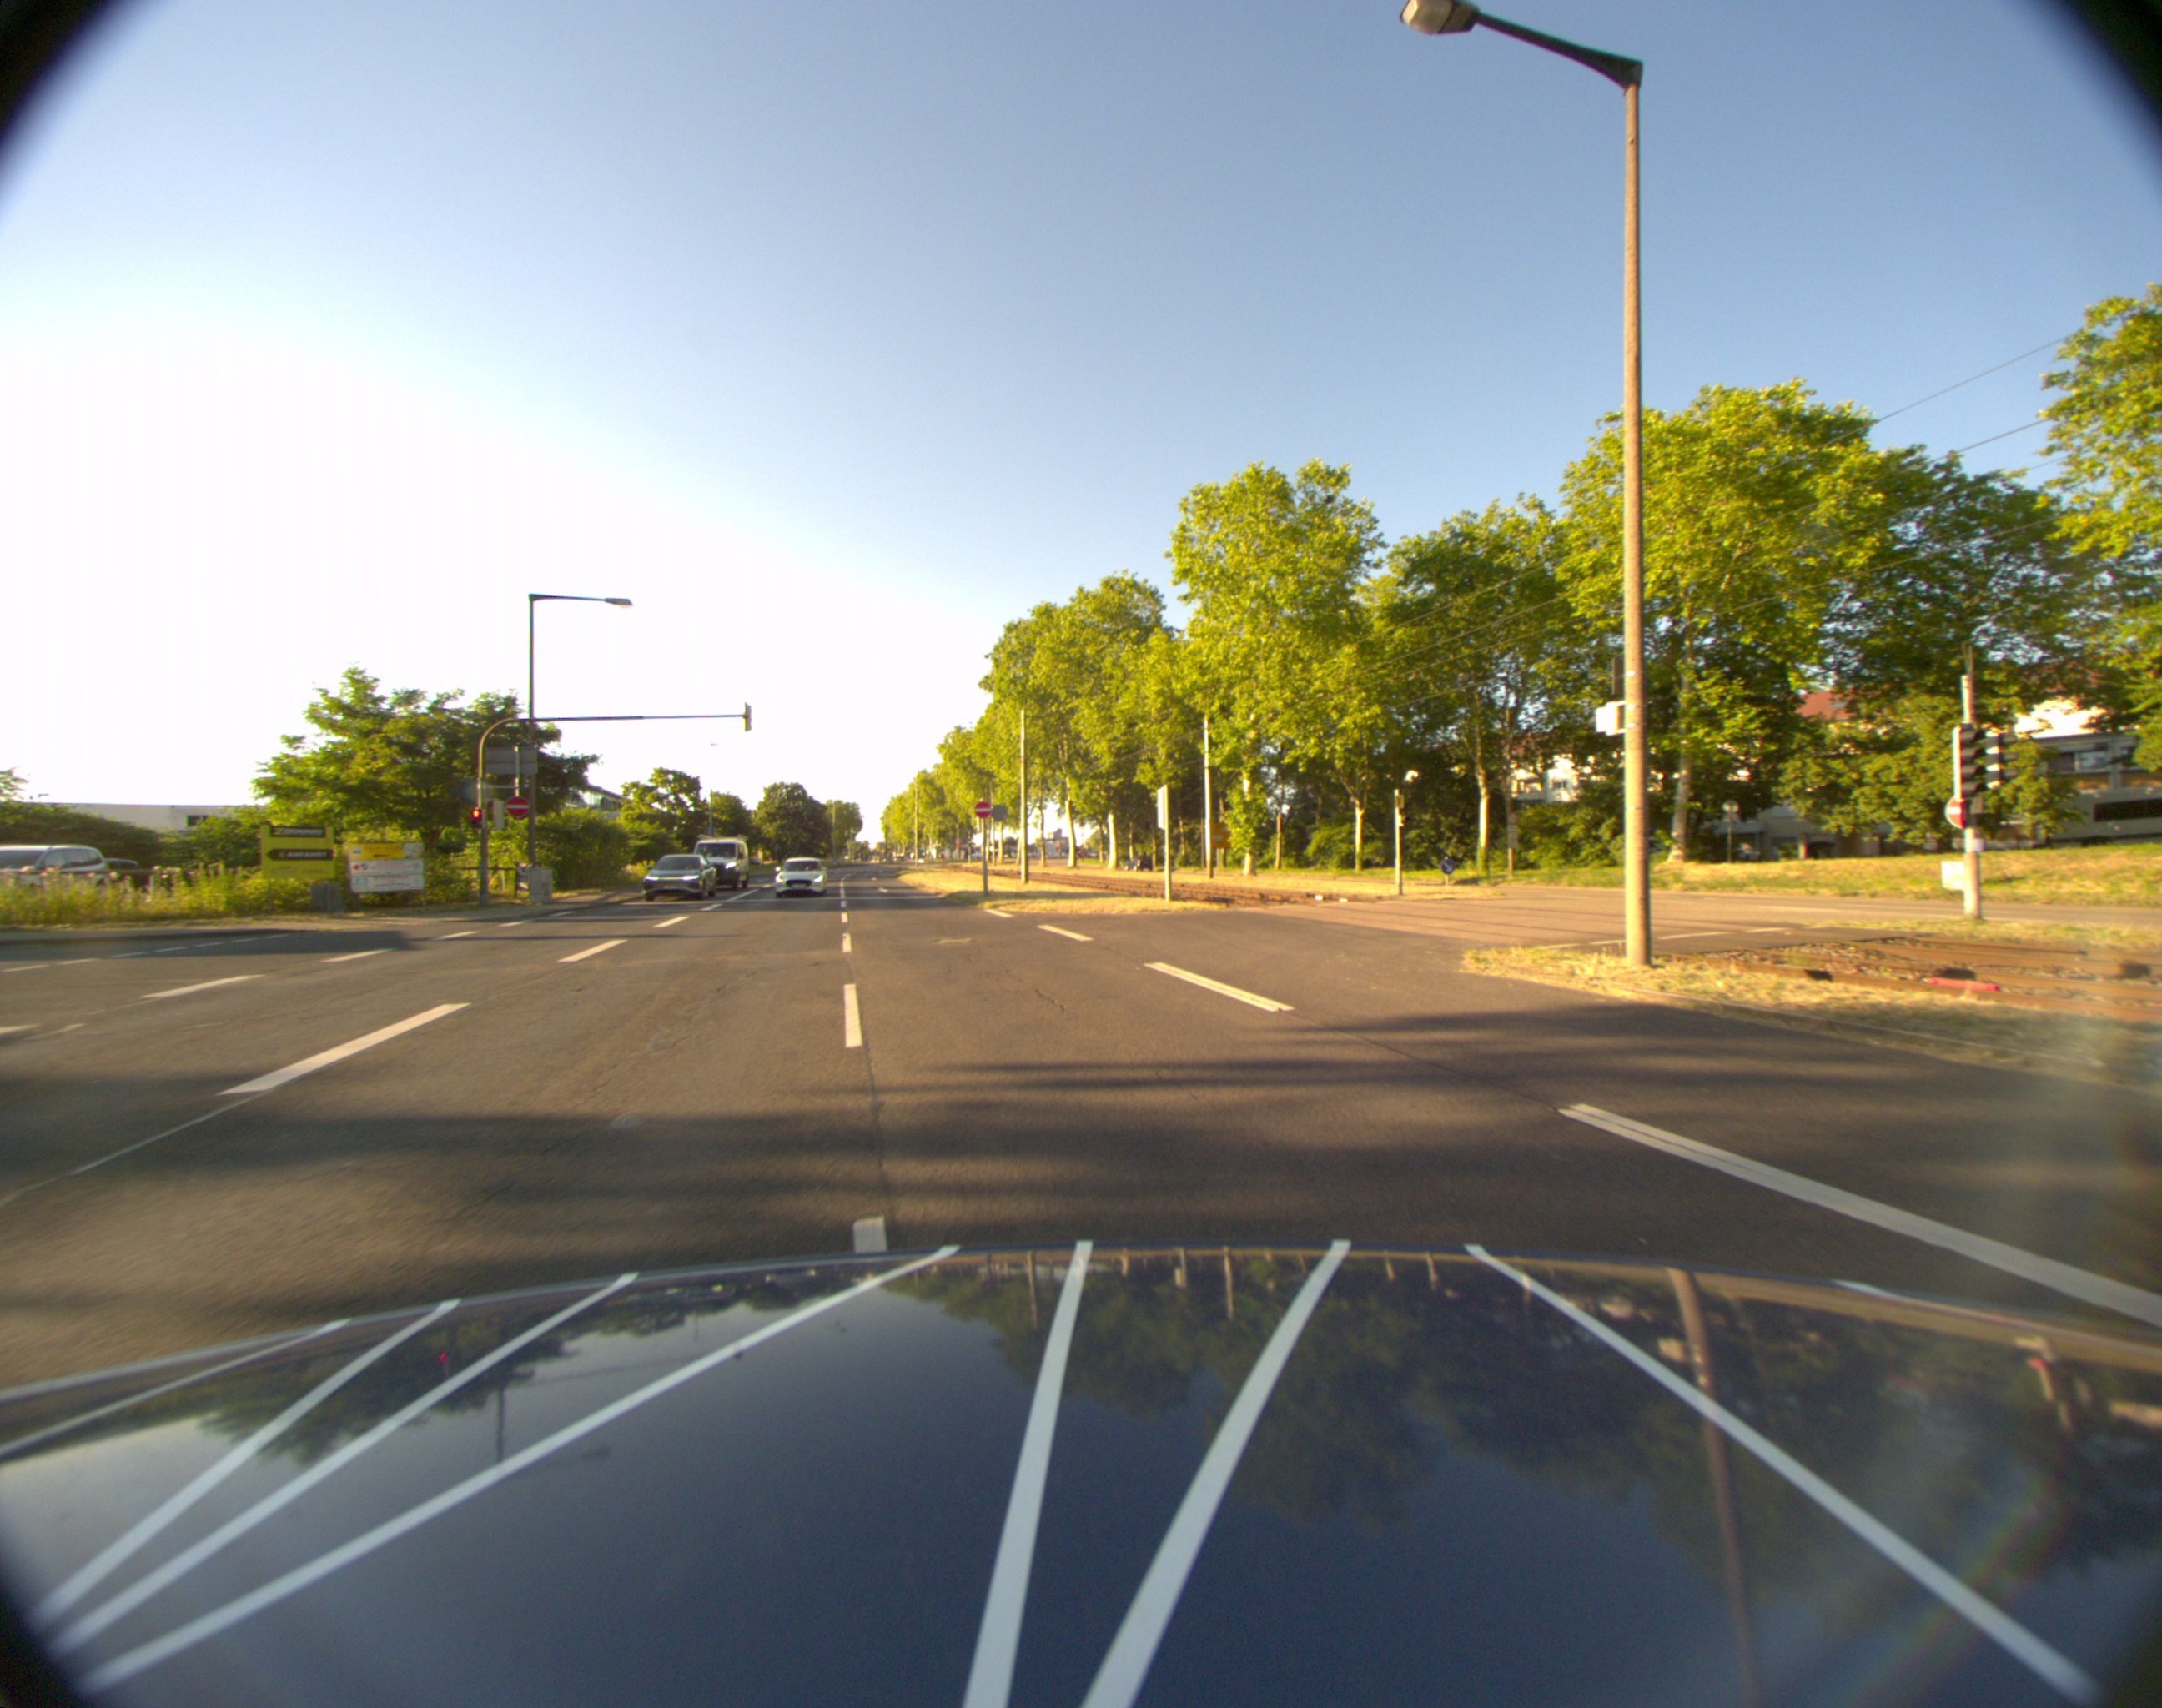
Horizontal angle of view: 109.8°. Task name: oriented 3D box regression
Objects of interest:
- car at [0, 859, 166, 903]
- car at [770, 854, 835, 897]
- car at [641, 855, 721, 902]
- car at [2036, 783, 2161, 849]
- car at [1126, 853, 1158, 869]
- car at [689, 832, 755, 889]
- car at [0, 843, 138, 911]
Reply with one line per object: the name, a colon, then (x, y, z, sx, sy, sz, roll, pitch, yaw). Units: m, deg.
car: (-39.411, 1.016, 29.933, 2.120, 1.627, 3.997, 0, -1, -8)
car: (-10.936, 0.810, 30.087, 1.877, 1.608, 3.996, 0, 0, -12)
car: (-14.860, 0.869, 28.447, 1.878, 1.608, 4.541, 0, 0, -18)
car: (43.024, -1.524, 30.497, 1.807, 2.498, 5.622, 0, -1, -12)
car: (5.742, 0.649, 71.731, 1.631, 1.433, 3.979, 0, -1, -17)
car: (-17.318, 0.323, 36.919, 2.011, 2.551, 5.868, 0, 0, -16)
car: (-27.406, 0.562, 19.466, 2.122, 1.638, 4.221, 0, -1, -18)
